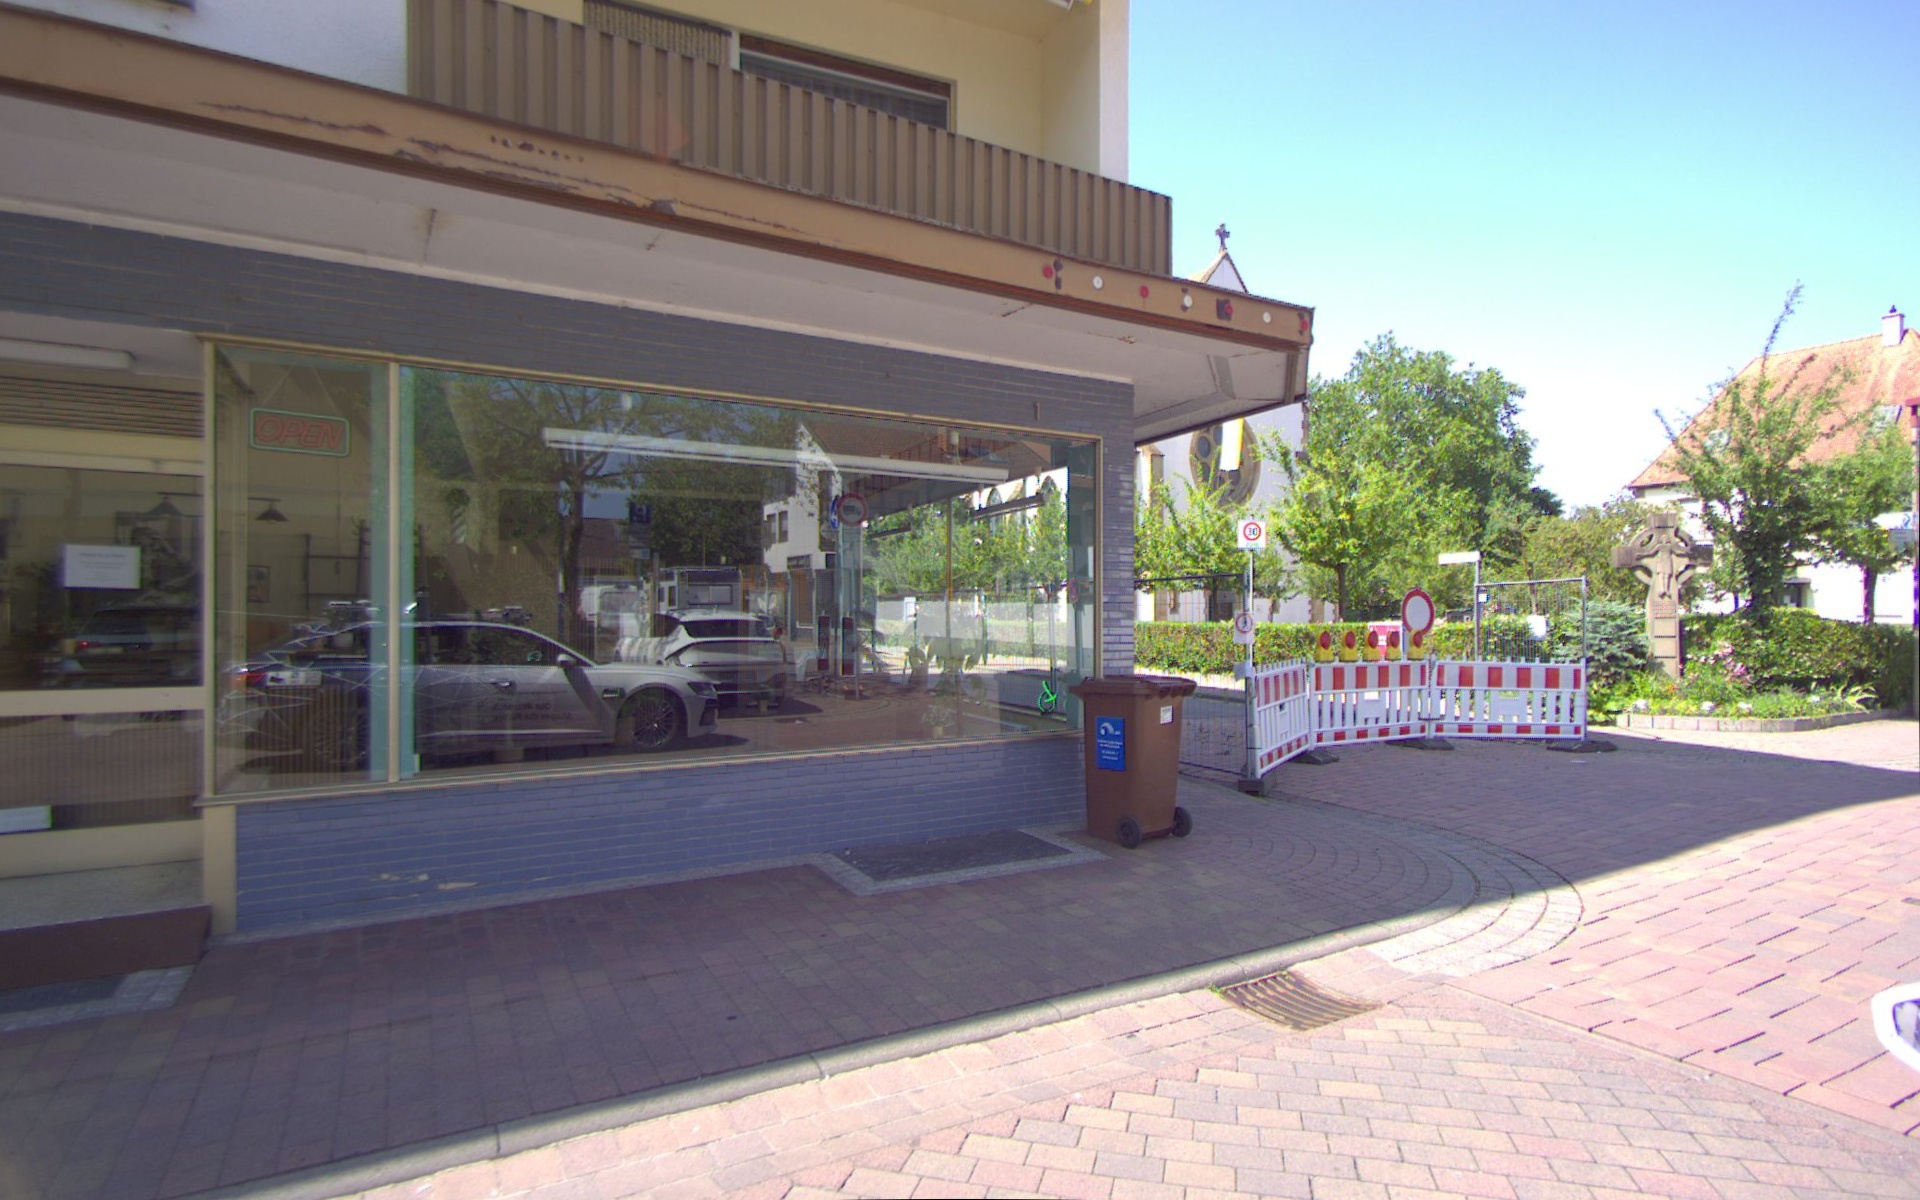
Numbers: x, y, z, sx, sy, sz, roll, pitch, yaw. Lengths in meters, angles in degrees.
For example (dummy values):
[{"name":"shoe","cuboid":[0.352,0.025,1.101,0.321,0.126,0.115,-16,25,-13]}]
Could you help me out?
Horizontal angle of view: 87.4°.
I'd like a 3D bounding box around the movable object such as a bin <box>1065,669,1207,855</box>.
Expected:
[{"name":"movable object such as a bin","cuboid":[1.159,1.026,6.635,0.657,1.084,0.650,1,0,-36]}]
